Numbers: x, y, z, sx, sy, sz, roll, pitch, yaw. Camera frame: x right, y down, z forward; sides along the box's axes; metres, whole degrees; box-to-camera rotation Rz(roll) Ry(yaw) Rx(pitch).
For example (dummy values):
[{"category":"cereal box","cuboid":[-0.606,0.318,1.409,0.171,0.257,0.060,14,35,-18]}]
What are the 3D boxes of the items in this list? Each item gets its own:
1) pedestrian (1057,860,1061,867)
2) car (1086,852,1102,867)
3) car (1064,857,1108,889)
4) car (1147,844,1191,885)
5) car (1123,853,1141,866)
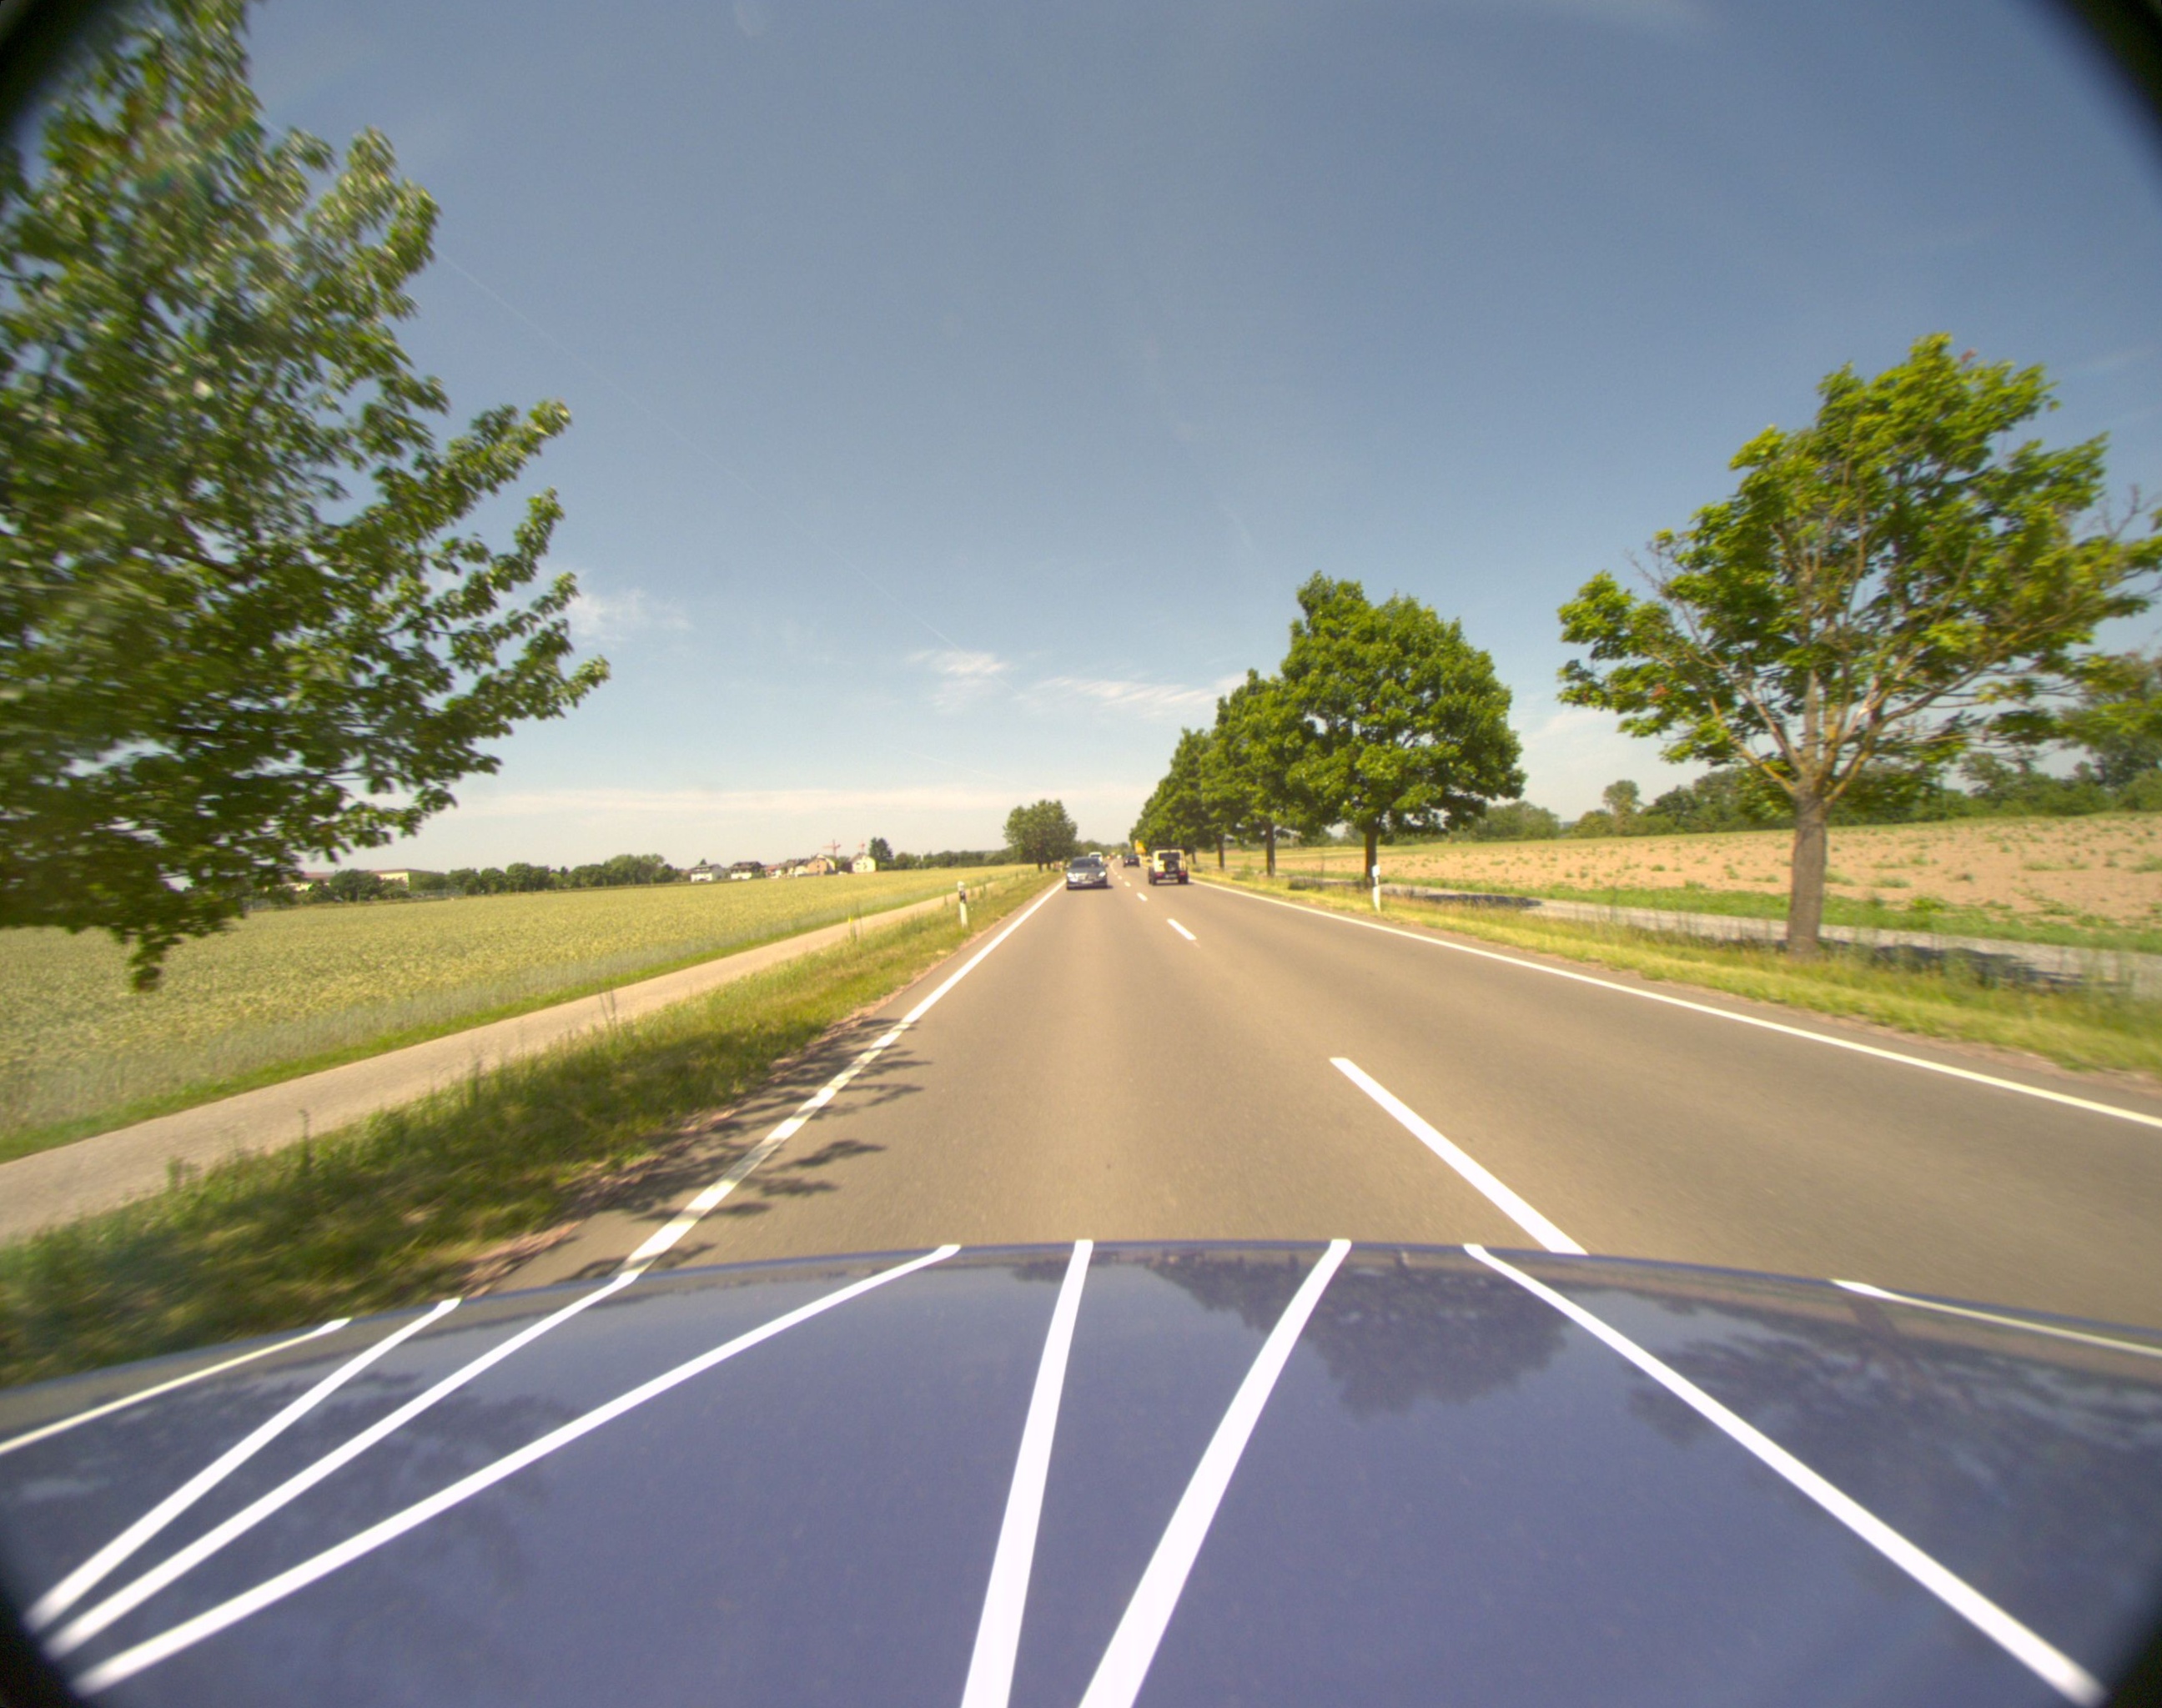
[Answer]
[{"category":"pedestrian","cuboid":[-4.176,1.914,145.872,0.443,1.306,0.486,-3,1,-45]},{"category":"car","cuboid":[1.810,0.709,104.042,1.998,1.907,4.207,-3,0,2]},{"category":"car","cuboid":[0.284,0.860,35.808,1.953,1.390,4.000,-1,0,2]},{"category":"car","cuboid":[4.243,0.471,37.071,1.685,1.838,4.000,-2,1,1]},{"category":"car","cuboid":[5.946,0.594,88.498,1.826,1.412,4.589,-2,1,1]}]
